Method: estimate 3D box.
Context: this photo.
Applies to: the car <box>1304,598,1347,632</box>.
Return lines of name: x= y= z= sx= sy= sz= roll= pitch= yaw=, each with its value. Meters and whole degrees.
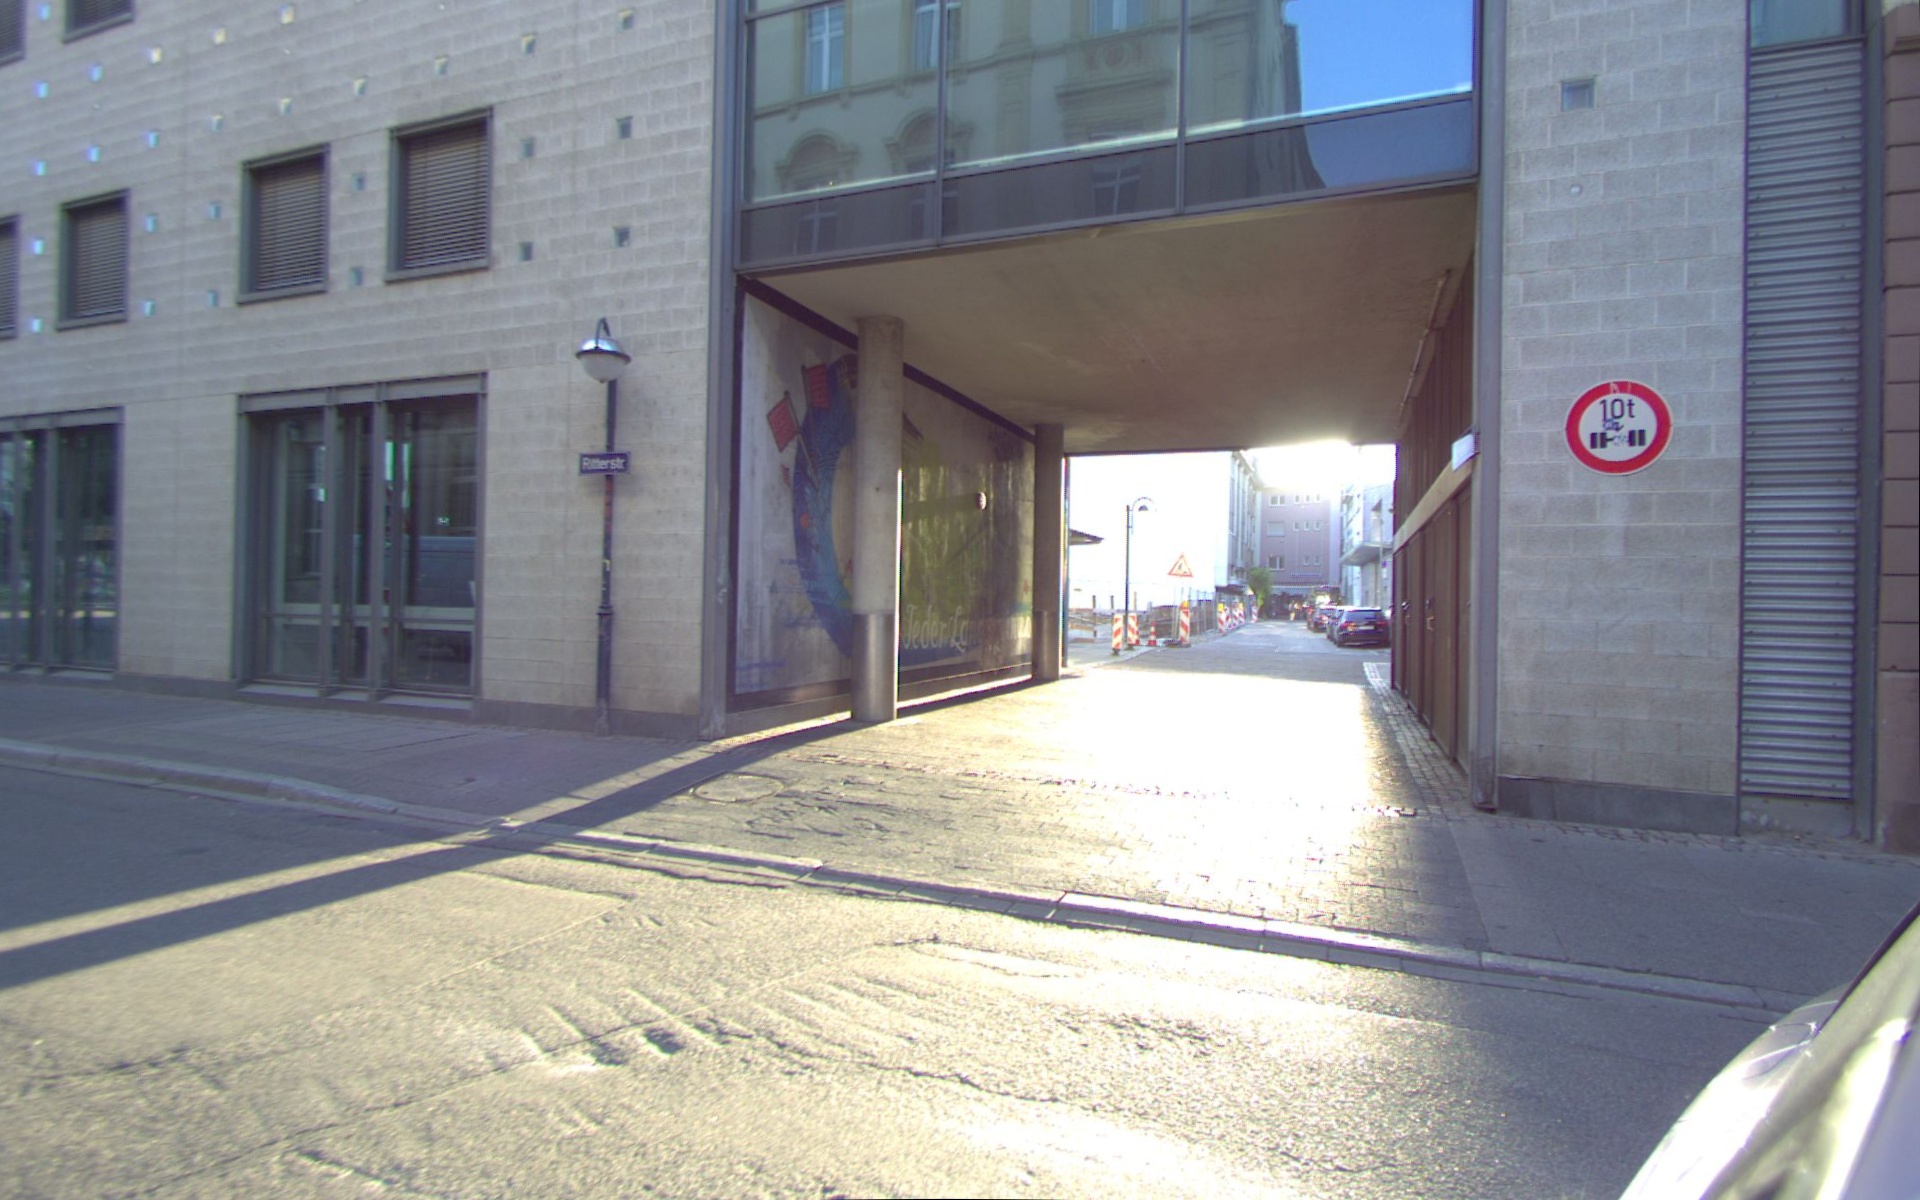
car: x=17.955 y=0.698 z=49.833 sx=1.578 sy=1.512 sz=3.430 roll=1 pitch=1 yaw=14

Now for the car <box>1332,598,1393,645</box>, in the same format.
car: x=14.494 y=0.744 z=36.592 sx=1.578 sy=1.512 sz=3.430 roll=1 pitch=1 yaw=14

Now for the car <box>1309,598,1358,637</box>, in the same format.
car: x=16.275 y=0.727 z=44.207 sx=1.578 sy=1.512 sz=3.430 roll=1 pitch=1 yaw=14

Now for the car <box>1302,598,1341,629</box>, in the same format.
car: x=19.448 y=0.694 z=54.526 sx=1.578 sy=1.512 sz=3.430 roll=1 pitch=1 yaw=14
